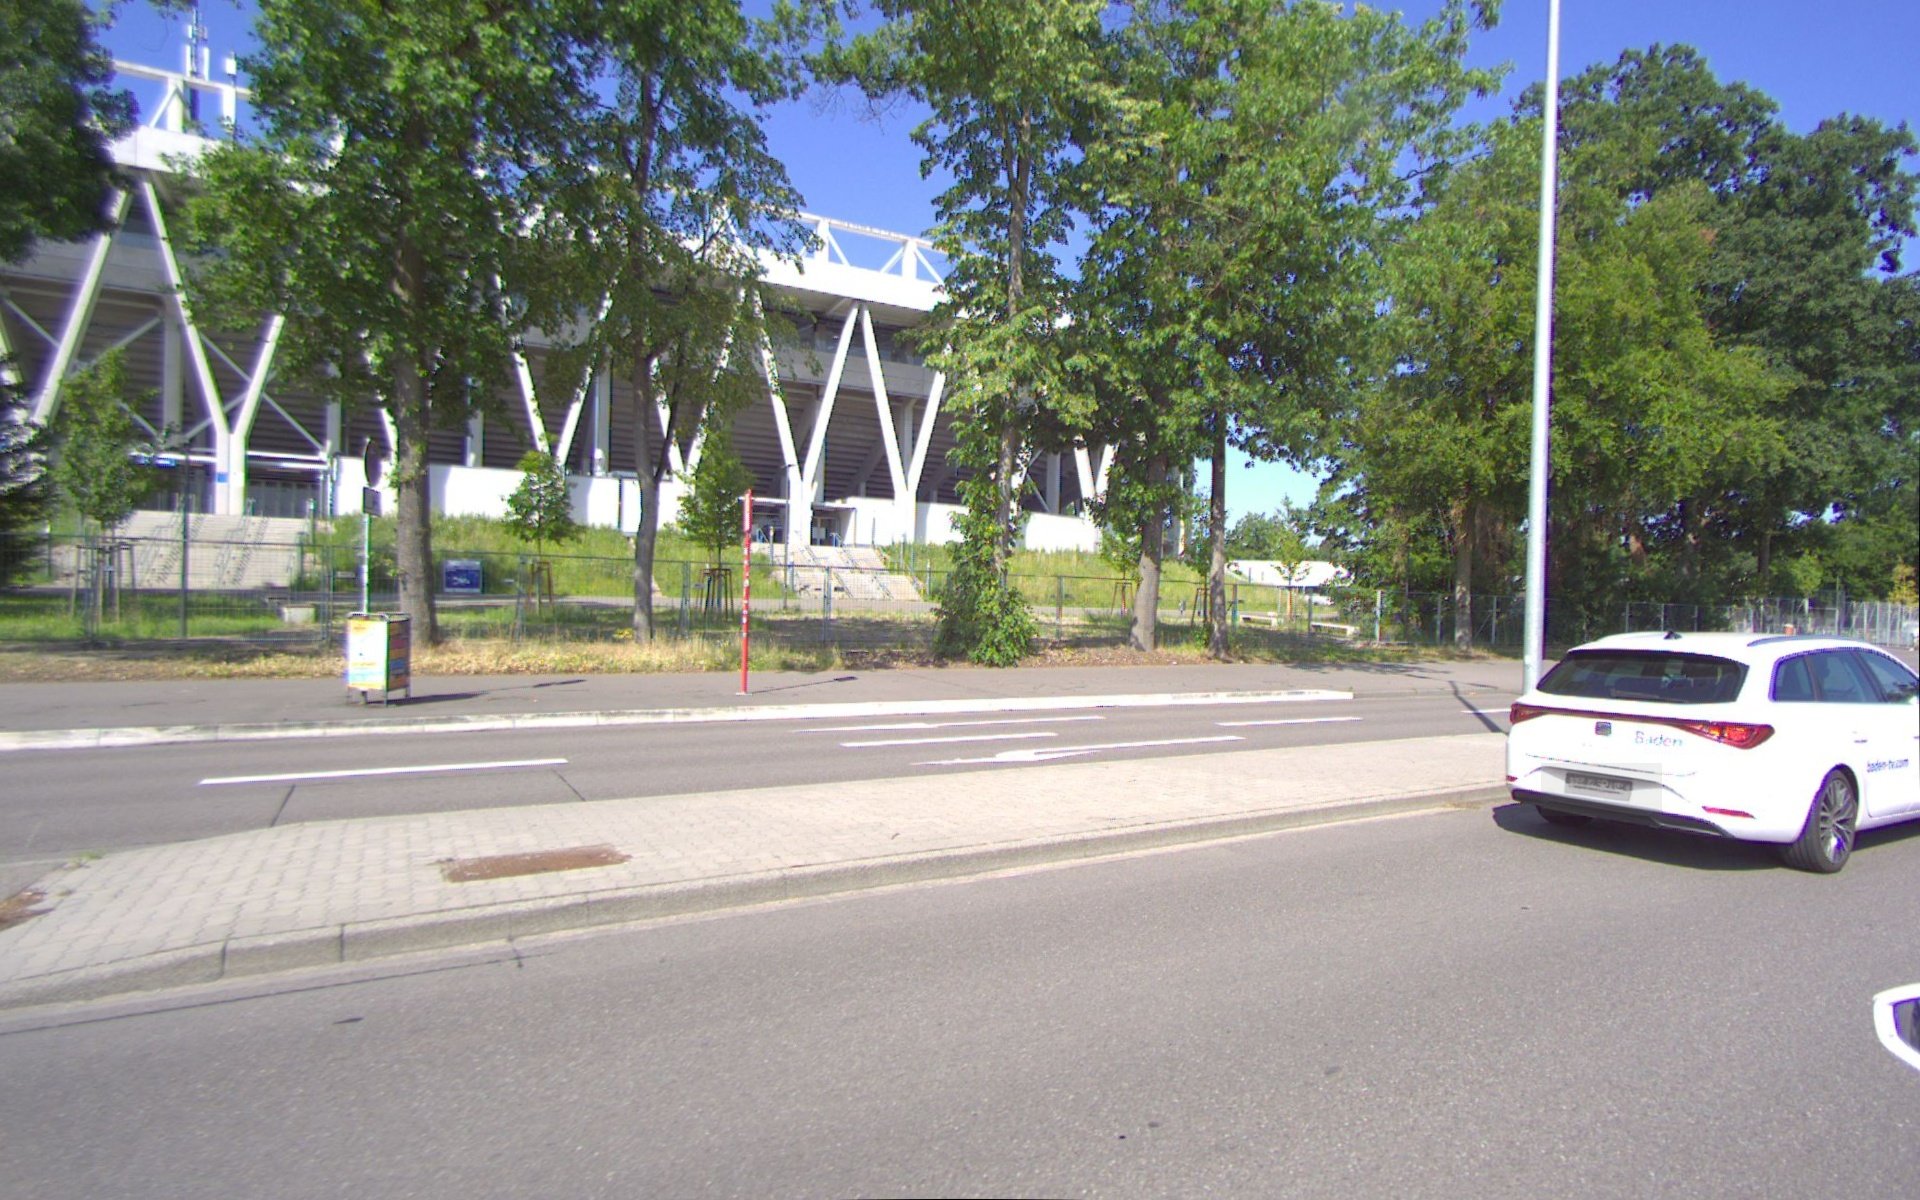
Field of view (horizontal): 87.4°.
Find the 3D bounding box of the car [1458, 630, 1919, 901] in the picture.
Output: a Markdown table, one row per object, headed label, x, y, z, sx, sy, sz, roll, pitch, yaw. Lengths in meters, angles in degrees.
| label | x | y | z | sx | sy | sz | roll | pitch | yaw |
| --- | --- | --- | --- | --- | --- | --- | --- | --- | --- |
| car | 5.916 | 0.967 | 7.413 | 4.663 | 1.446 | 1.717 | 1 | -1 | -30 |
